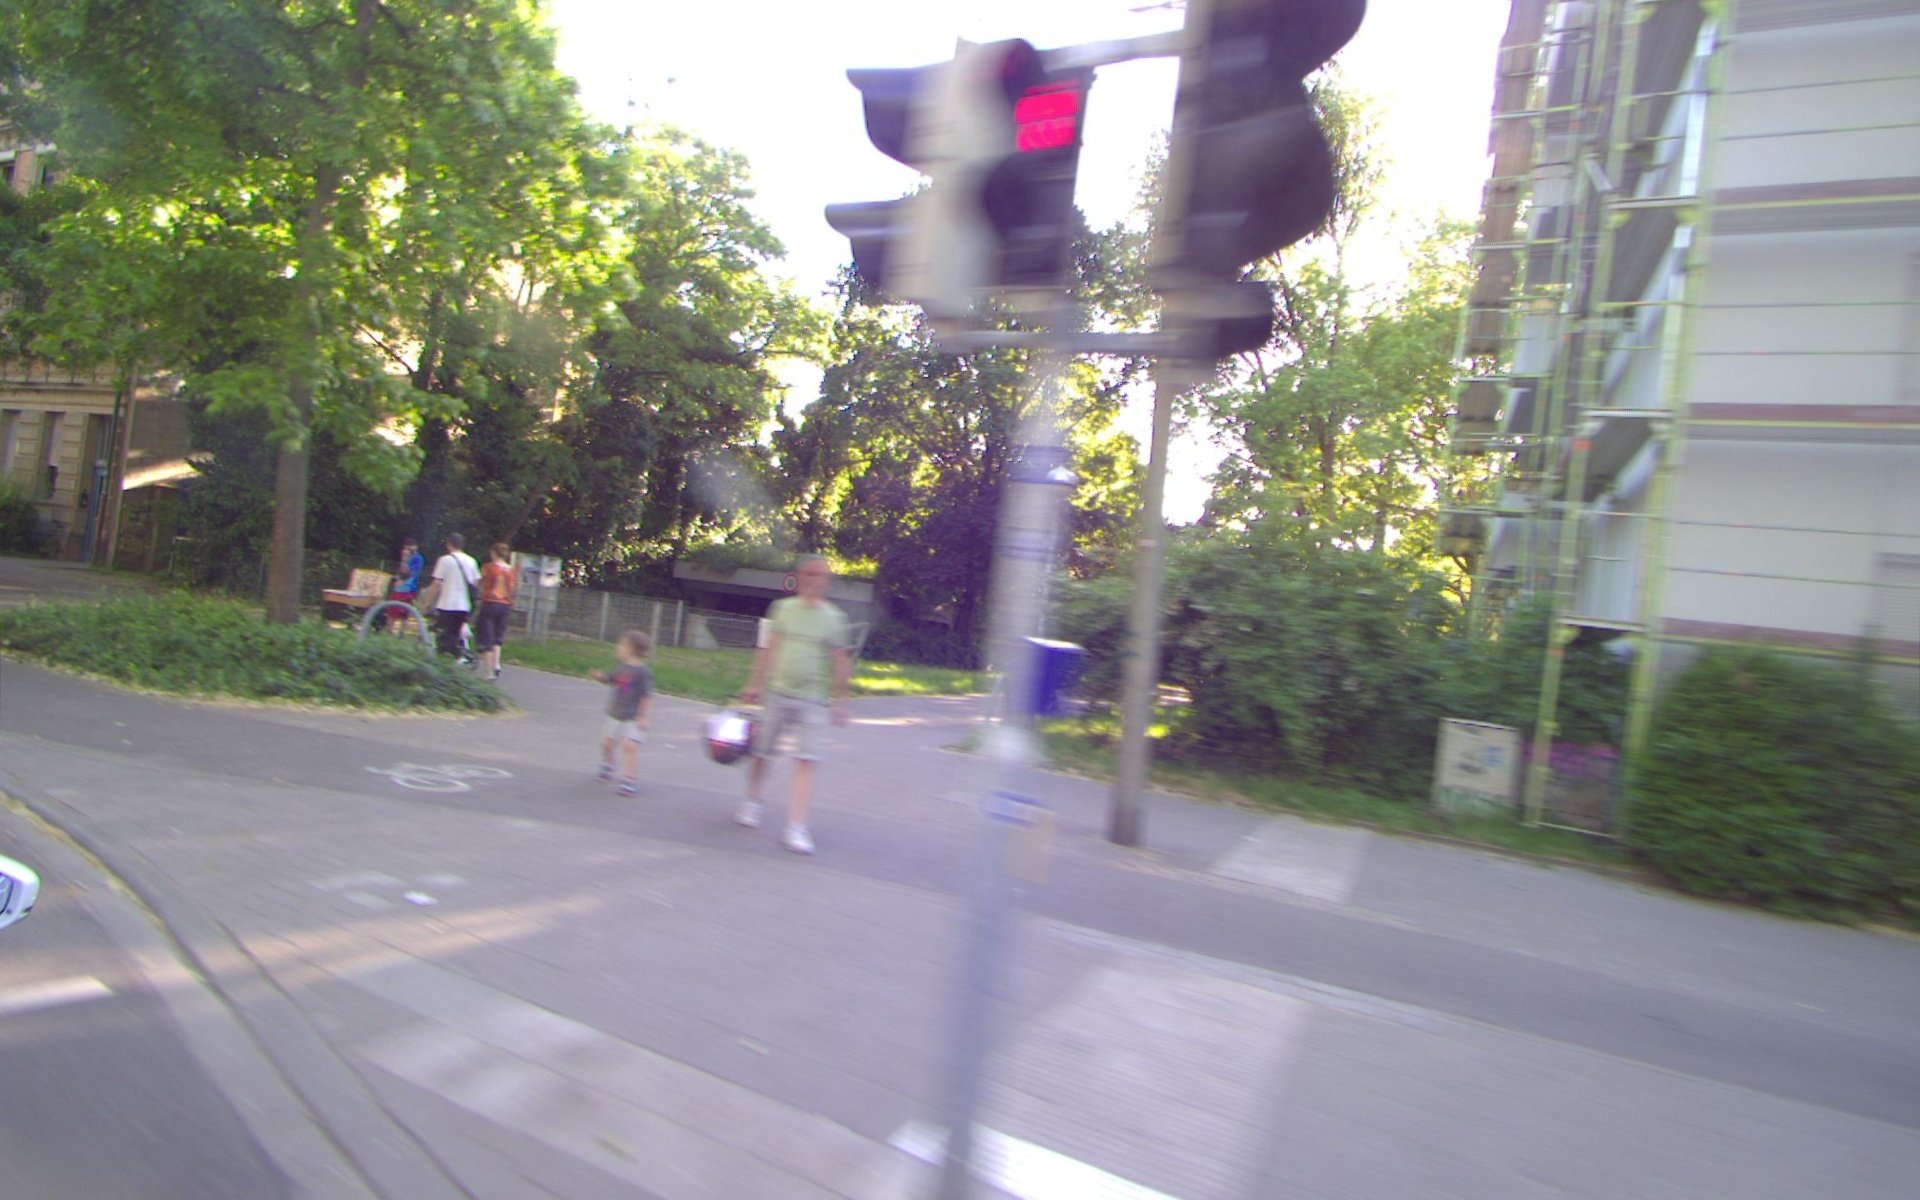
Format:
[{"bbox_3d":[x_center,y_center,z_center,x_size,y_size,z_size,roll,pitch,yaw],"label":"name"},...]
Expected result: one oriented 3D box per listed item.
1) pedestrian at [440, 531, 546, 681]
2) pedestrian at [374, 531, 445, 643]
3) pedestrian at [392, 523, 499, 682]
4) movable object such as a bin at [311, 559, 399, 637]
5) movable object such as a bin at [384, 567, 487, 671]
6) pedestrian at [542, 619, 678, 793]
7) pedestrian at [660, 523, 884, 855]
[{"bbox_3d":[-6.073,0.082,13.075,0.953,1.816,0.726,7,1,37],"label":"pedestrian"},{"bbox_3d":[-9.063,-0.201,16.584,0.543,1.745,0.620,7,-1,11],"label":"pedestrian"},{"bbox_3d":[-6.290,0.033,12.306,0.840,1.816,0.726,7,1,37],"label":"pedestrian"},{"bbox_3d":[-10.018,-0.031,16.672,0.939,1.139,0.668,7,-2,19],"label":"movable object such as a bin"},{"bbox_3d":[-7.024,0.251,13.455,1.285,1.218,0.638,7,1,37],"label":"movable object such as a bin"},{"bbox_3d":[-2.534,0.753,7.346,0.648,1.131,0.676,8,-1,-4],"label":"pedestrian"},{"bbox_3d":[-1.190,0.561,6.595,0.979,1.906,0.871,7,-1,8],"label":"pedestrian"}]
